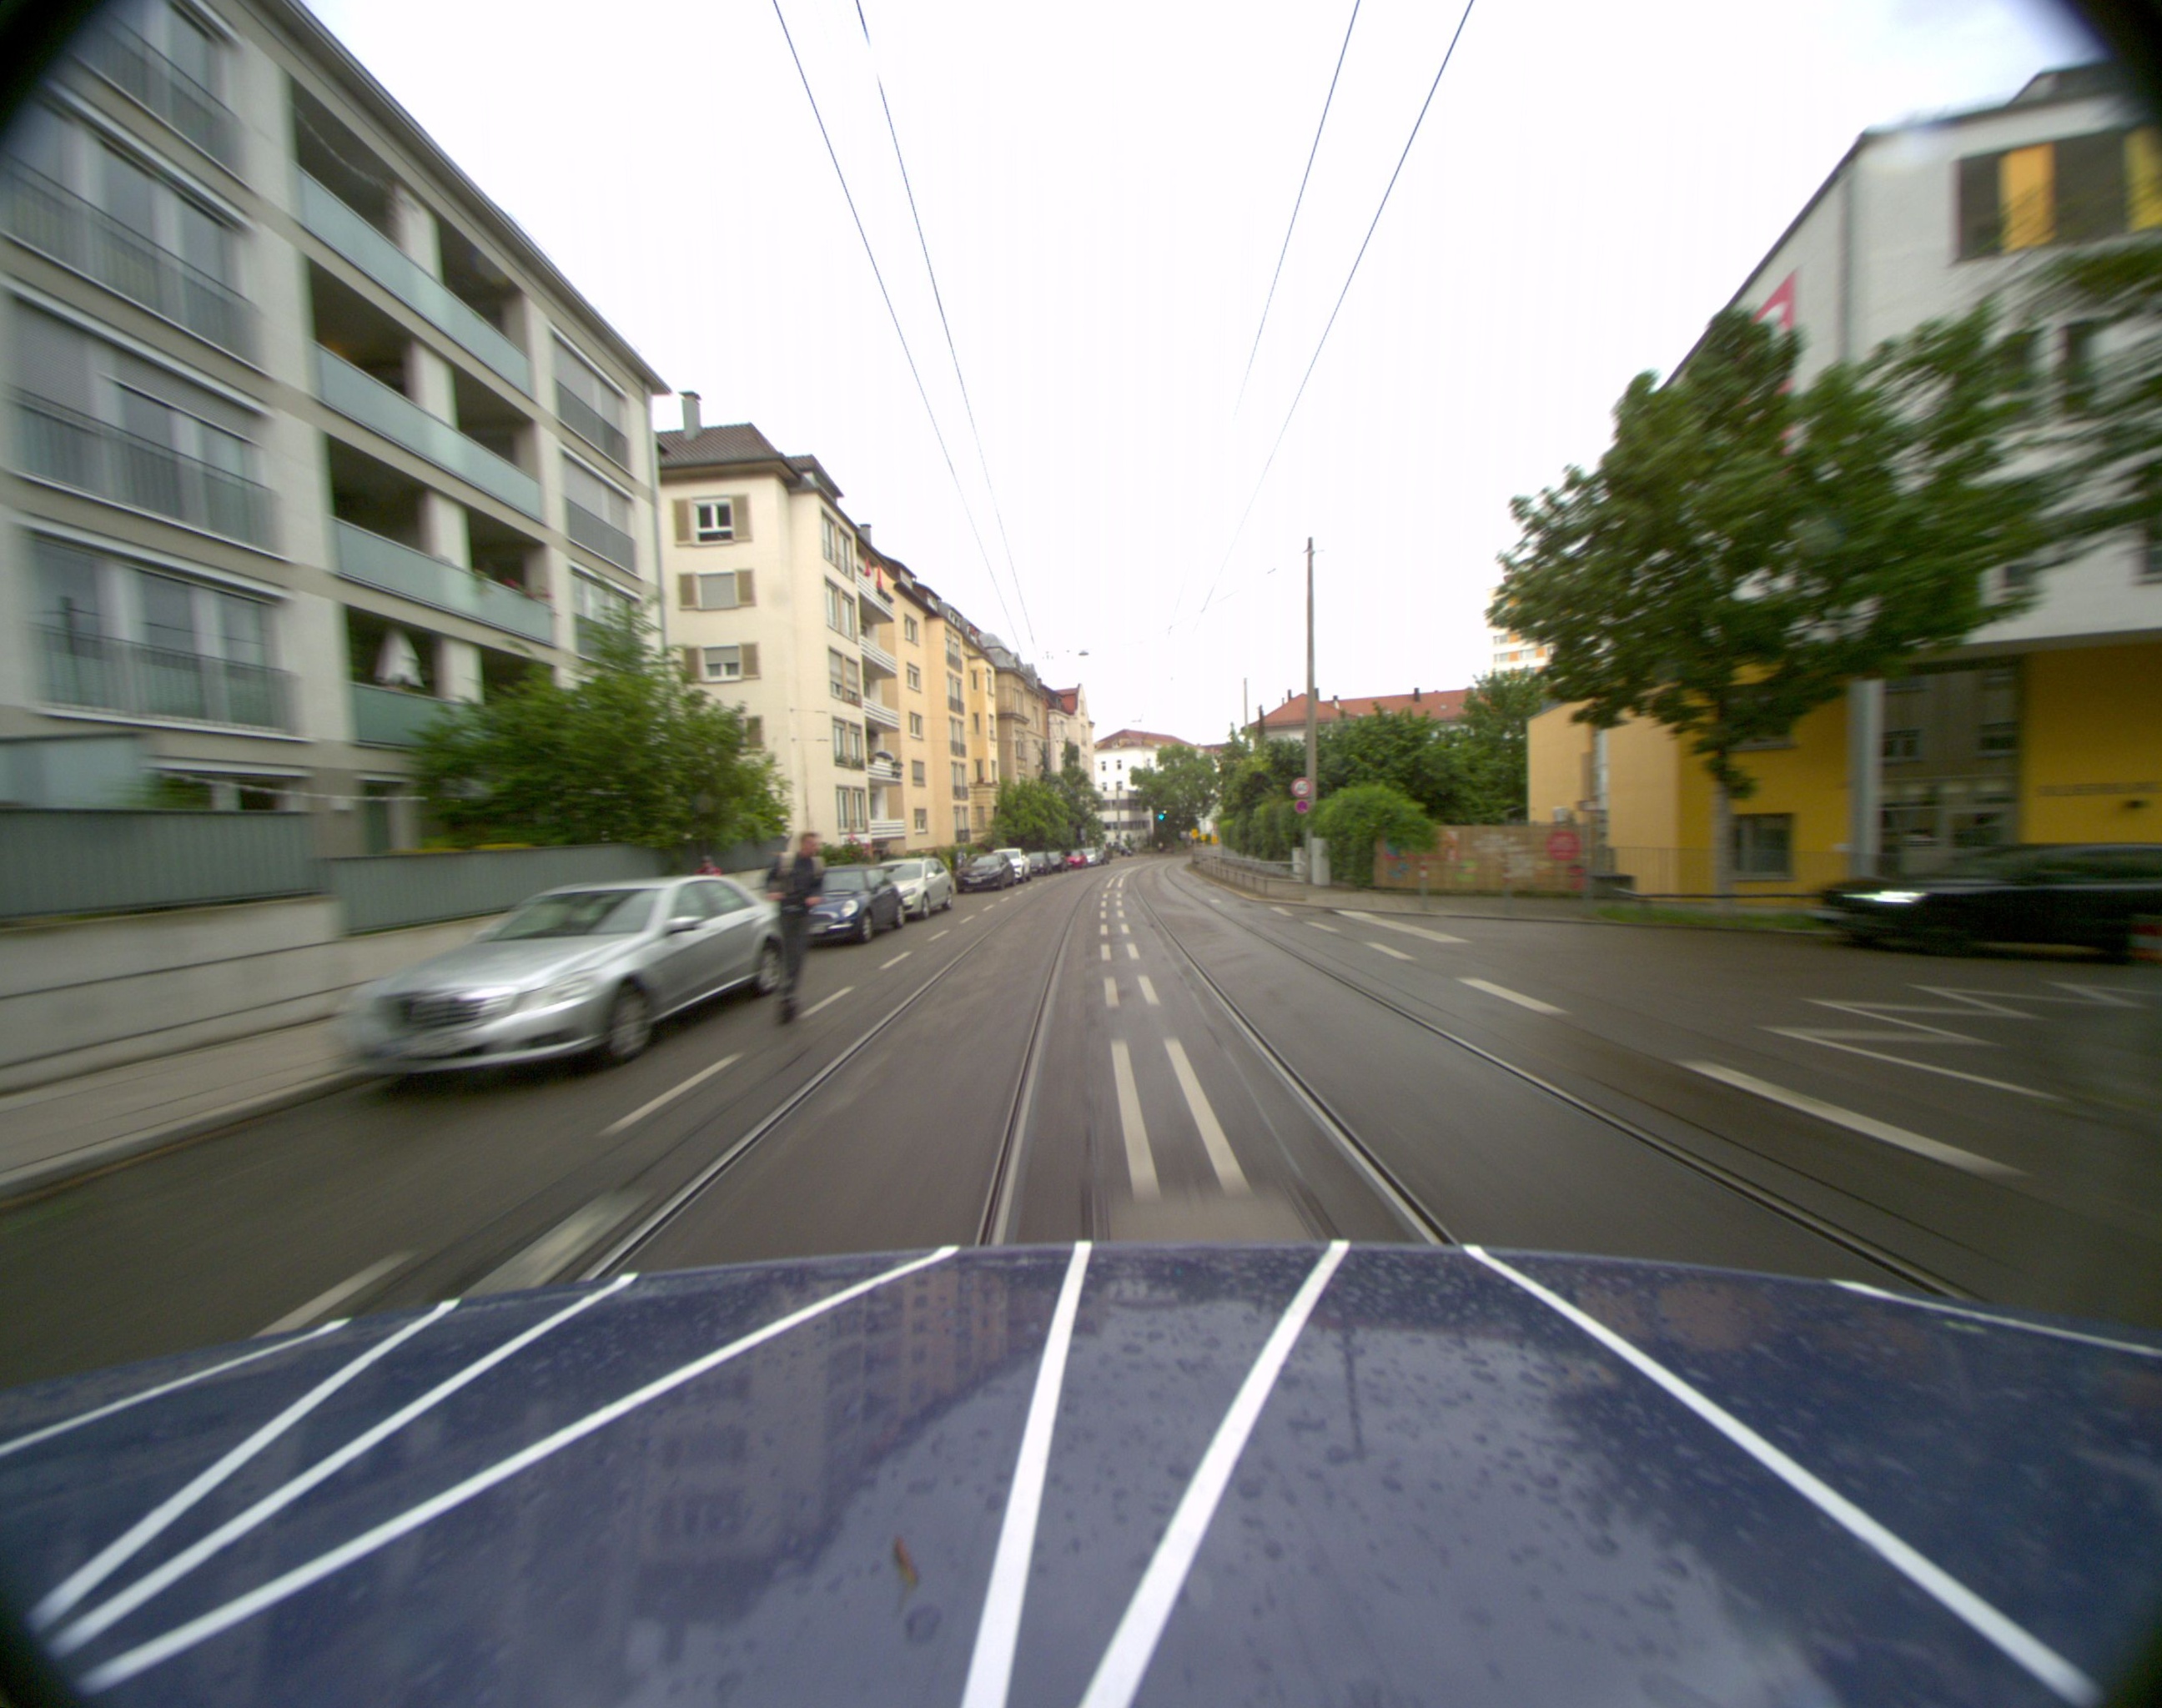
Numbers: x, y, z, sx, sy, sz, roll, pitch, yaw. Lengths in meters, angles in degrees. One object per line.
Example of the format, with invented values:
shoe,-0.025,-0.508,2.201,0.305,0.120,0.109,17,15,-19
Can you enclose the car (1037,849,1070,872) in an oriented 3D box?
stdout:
car,-1.750,0.390,50.009,1.658,1.360,3.636,-4,1,5

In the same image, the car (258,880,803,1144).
car,-4.552,1.137,7.478,1.863,1.506,4.788,-3,0,-1

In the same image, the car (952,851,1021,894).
car,-3.724,0.683,30.572,1.798,1.444,4.104,-4,1,6

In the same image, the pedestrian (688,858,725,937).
pedestrian,-7.672,0.875,15.559,0.583,1.577,0.568,-1,1,-32

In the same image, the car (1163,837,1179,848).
car,13.855,-1.773,116.914,1.796,1.502,4.004,-2,2,17

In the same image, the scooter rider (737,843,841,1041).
scooter rider,-2.877,0.834,7.564,0.645,1.847,0.689,-3,2,-1

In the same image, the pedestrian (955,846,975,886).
pedestrian,-5.059,0.512,33.265,0.717,1.703,0.665,0,1,6

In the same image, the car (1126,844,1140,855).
car,7.458,-0.609,108.683,1.613,1.434,3.690,-4,1,10

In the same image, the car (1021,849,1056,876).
car,-2.478,0.455,44.869,1.590,1.434,3.476,-4,1,3

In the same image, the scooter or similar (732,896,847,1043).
scooter or similar,-2.859,1.098,7.564,0.645,1.254,1.089,-3,2,-1

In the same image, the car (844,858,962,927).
car,-4.417,0.903,19.553,1.722,1.458,4.391,-3,0,3

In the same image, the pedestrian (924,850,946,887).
pedestrian,-6.300,0.626,32.754,0.667,1.560,0.915,0,1,7

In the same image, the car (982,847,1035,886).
car,-3.306,0.525,35.444,1.798,1.612,3.868,-4,1,3

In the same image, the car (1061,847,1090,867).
car,-0.379,0.231,57.196,1.556,1.360,3.126,-4,1,10

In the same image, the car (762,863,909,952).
car,-4.591,0.937,14.759,1.600,1.416,3.515,-3,0,1

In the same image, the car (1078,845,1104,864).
car,0.874,0.020,66.376,1.613,1.434,3.690,-4,1,10

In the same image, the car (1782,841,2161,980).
car,13.673,0.741,10.930,4.760,1.668,2.073,2,2,19
